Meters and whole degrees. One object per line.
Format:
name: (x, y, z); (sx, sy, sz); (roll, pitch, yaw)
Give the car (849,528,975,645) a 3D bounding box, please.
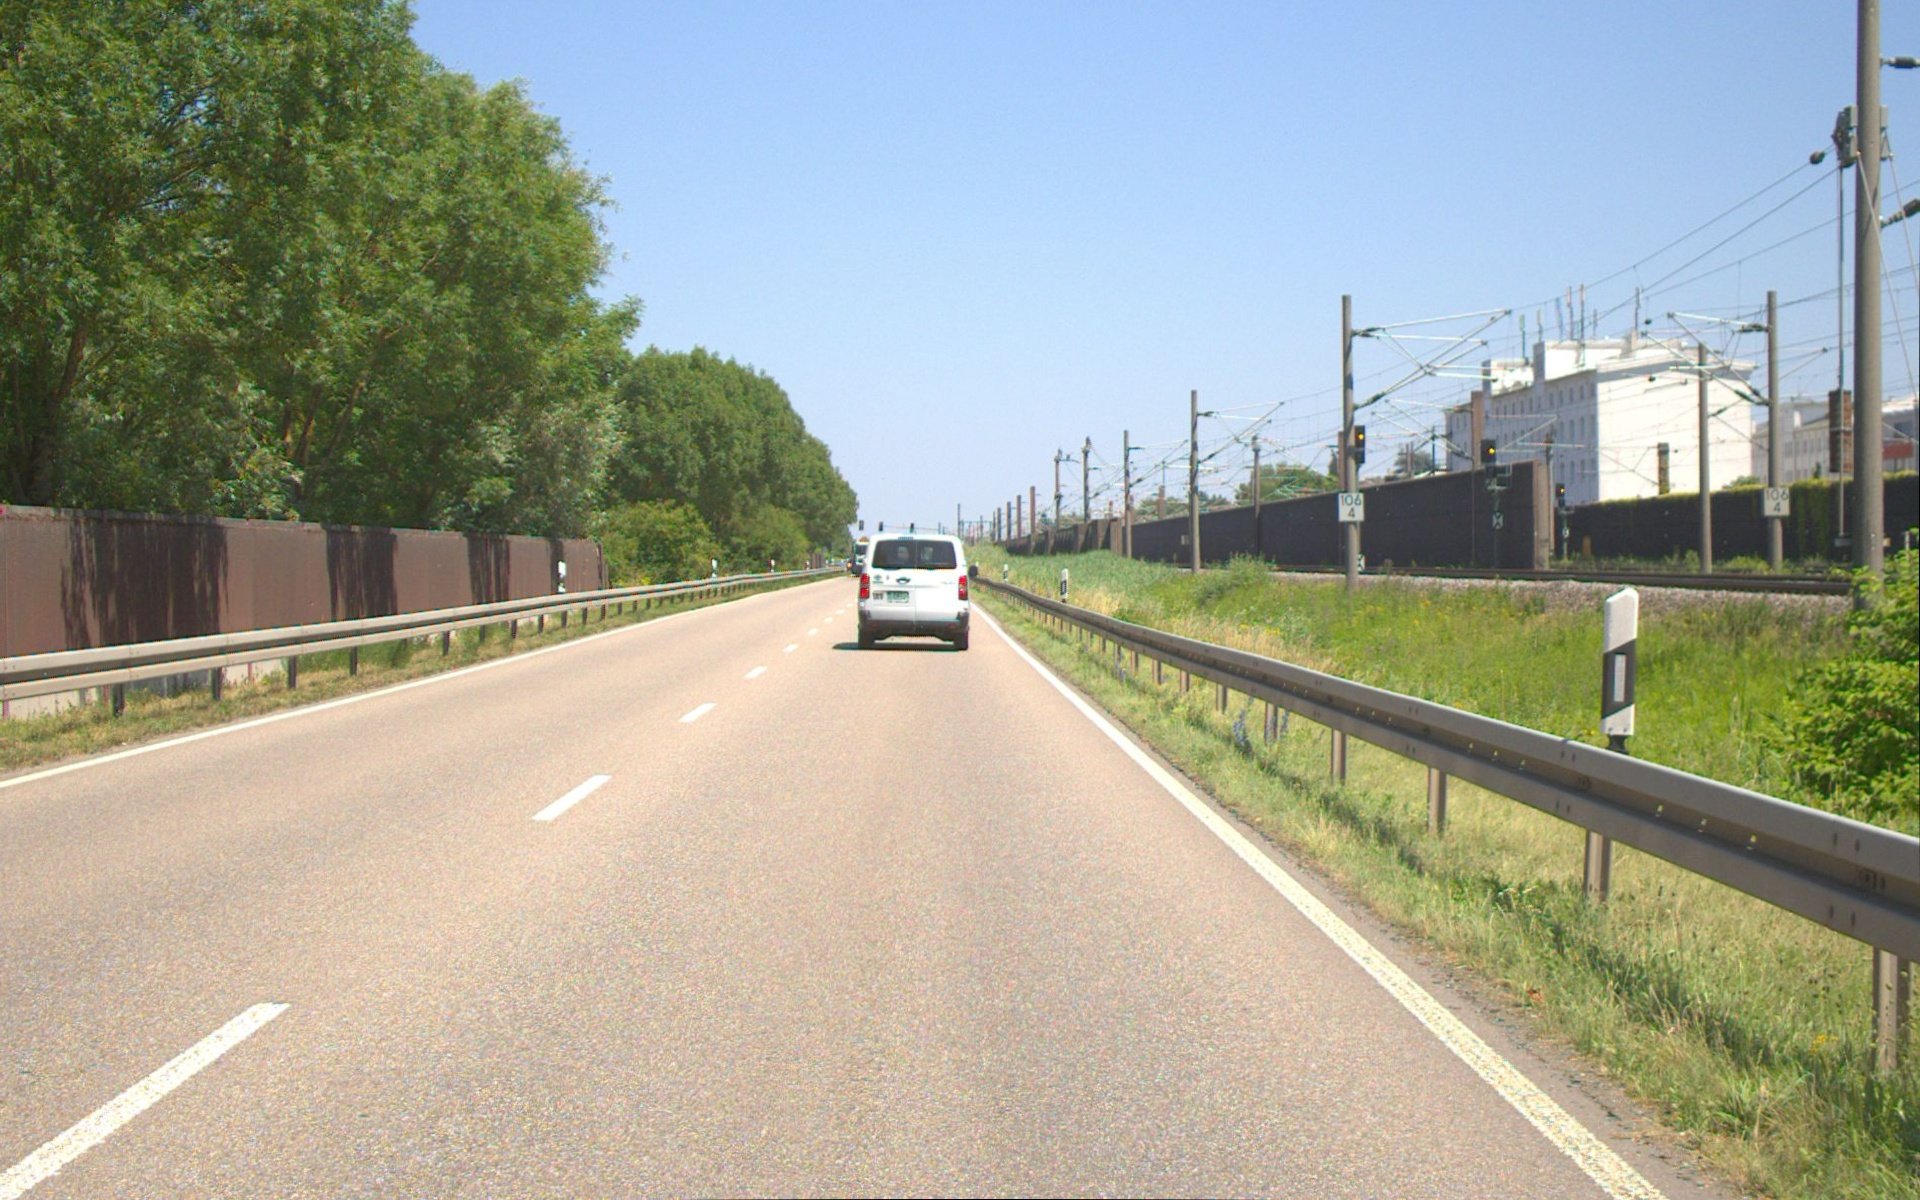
car: (-0.801, -0.244, 57.999); (1.993, 1.843, 4.000); (2, 1, -1)
